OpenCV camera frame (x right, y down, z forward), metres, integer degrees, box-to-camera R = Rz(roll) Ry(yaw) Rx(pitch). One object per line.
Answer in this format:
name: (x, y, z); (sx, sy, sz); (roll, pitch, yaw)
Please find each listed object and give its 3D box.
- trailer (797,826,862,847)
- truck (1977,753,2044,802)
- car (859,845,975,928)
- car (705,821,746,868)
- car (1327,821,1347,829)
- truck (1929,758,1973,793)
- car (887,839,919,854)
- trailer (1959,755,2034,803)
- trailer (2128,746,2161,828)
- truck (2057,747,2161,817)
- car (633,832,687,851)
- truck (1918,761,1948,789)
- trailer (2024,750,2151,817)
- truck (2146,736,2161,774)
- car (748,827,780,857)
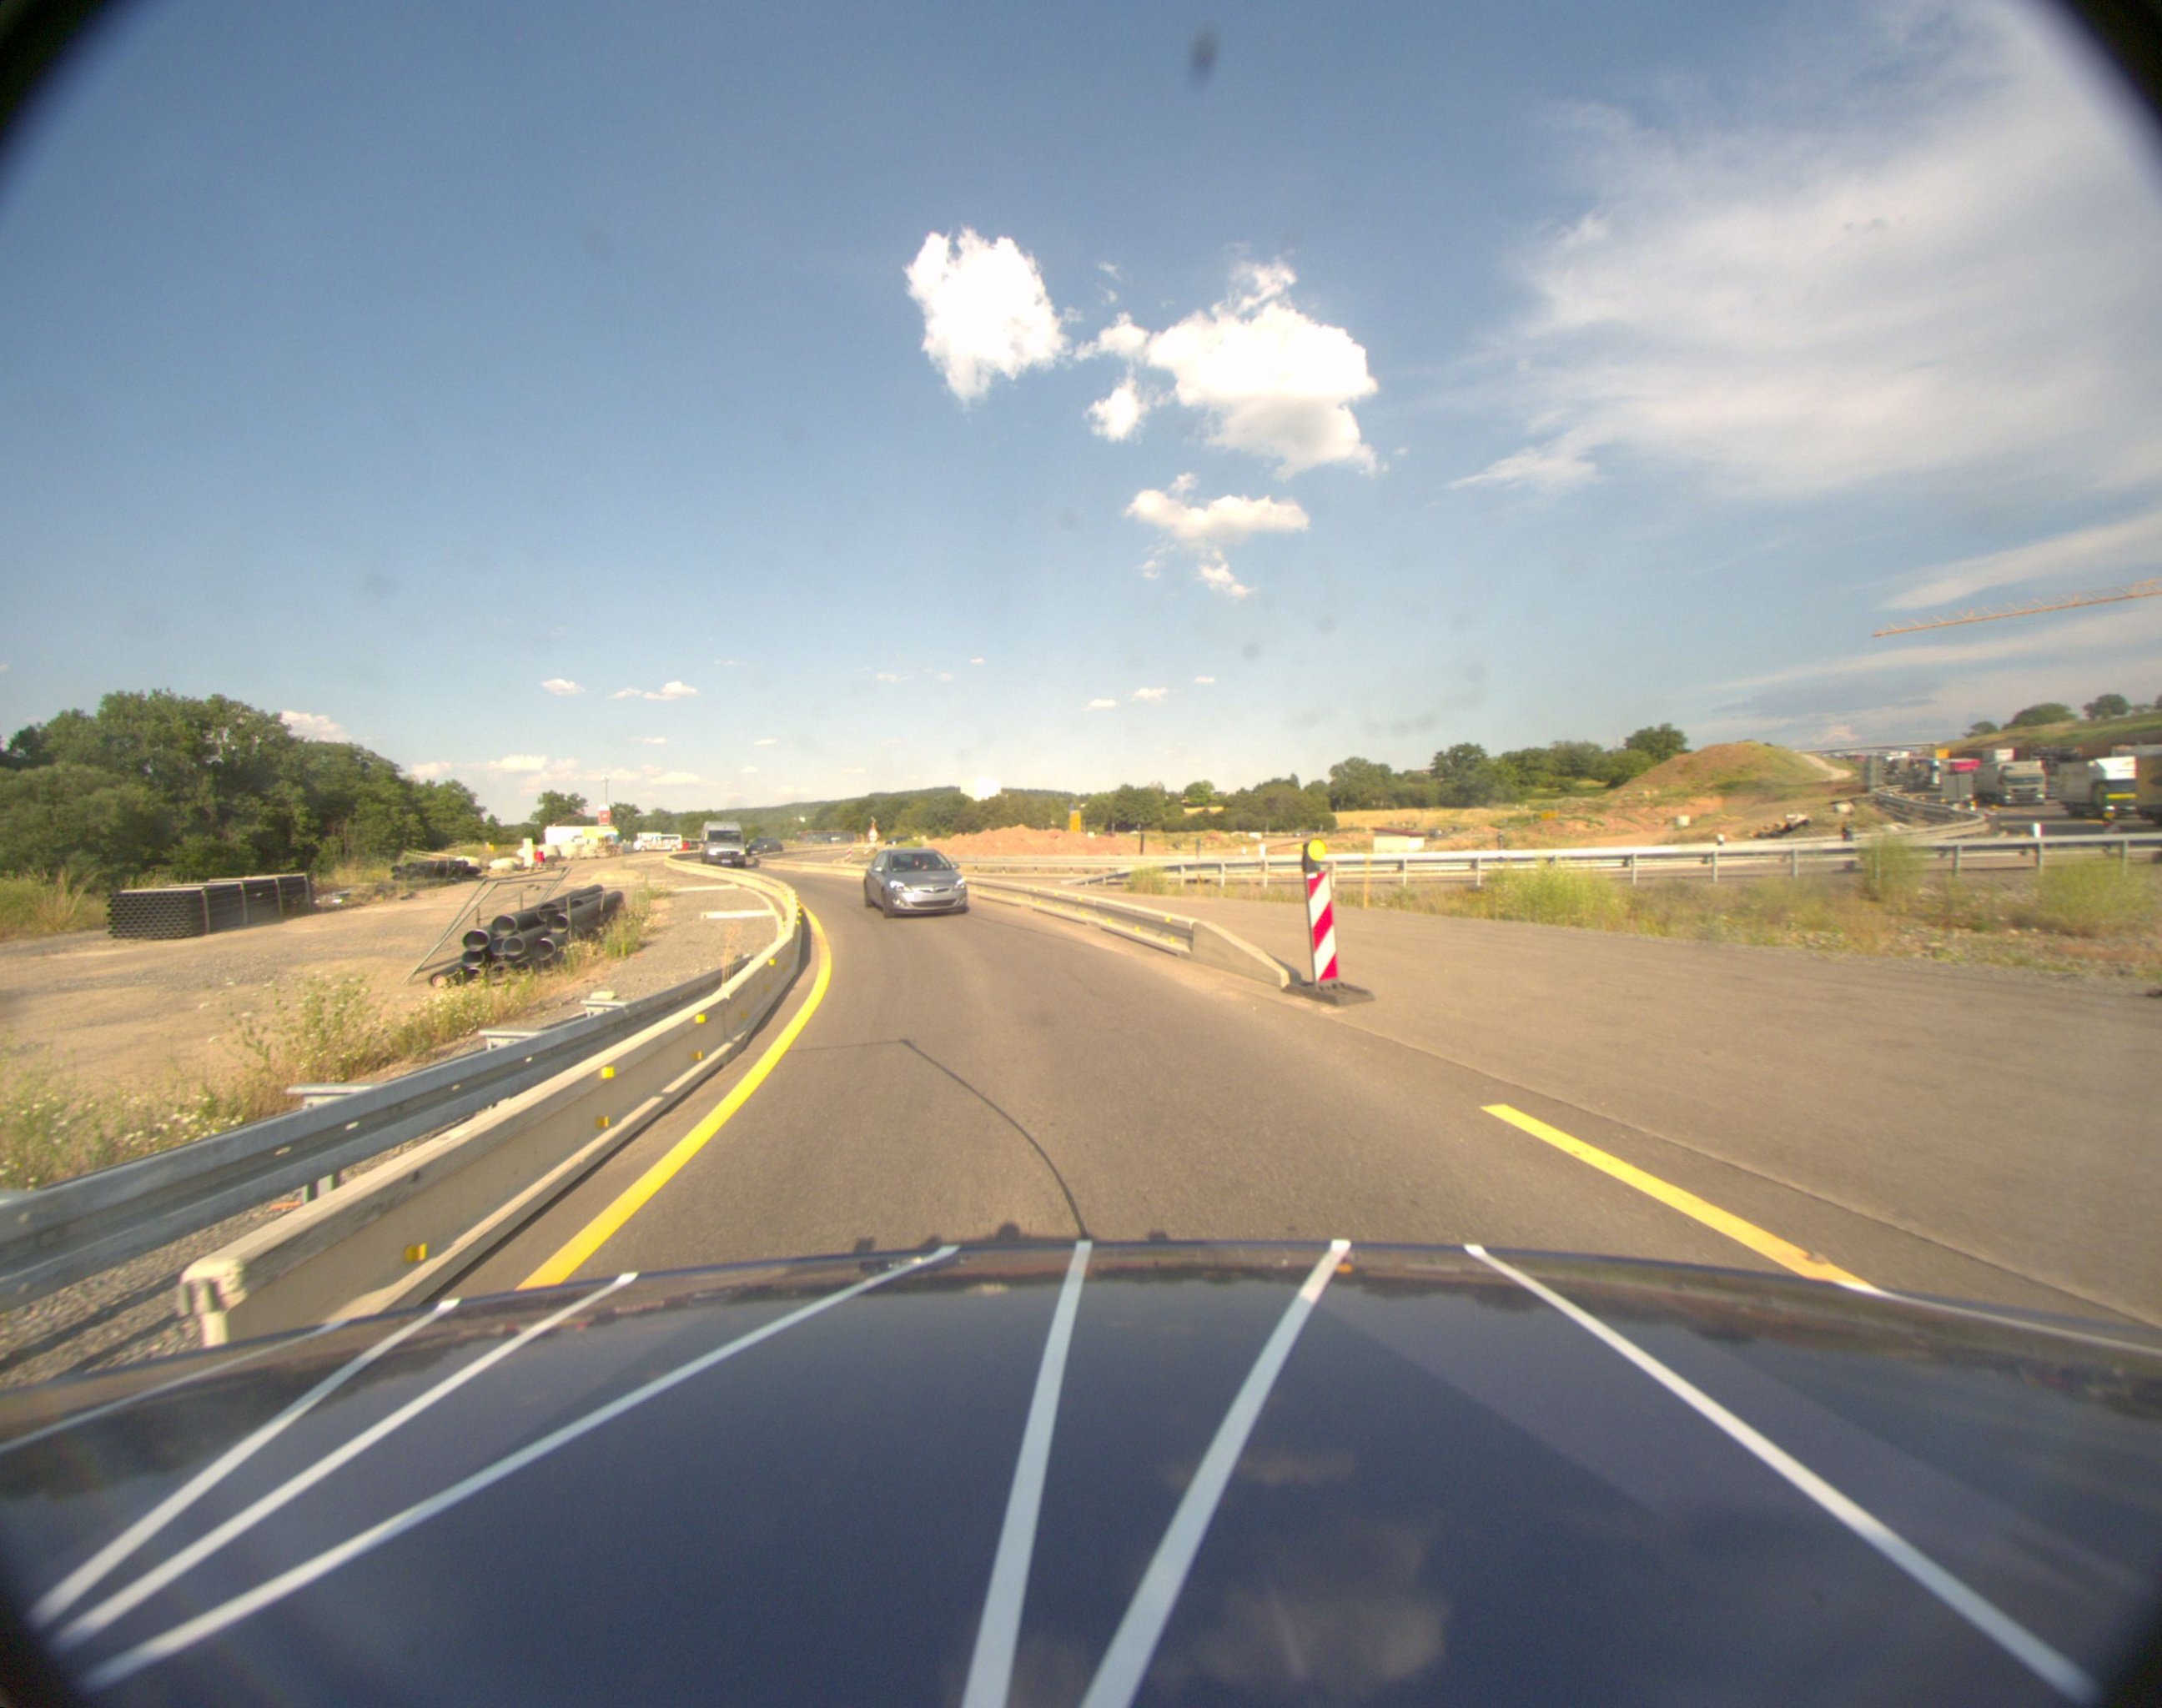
trailer: (-30.771, -2.199, 93.269); (3.005, 2.401, 7.241); (0, 3, 34)
truck: (88.465, -7.149, 72.456); (3.104, 4.291, 6.909); (2, 4, 44)
car: (-3.901, 0.617, 17.514); (1.750, 1.476, 4.242); (-4, 4, -23)
car: (-20.177, -0.632, 43.072); (1.920, 2.487, 5.783); (-2, 3, -26)
car: (50.324, -5.639, 149.256); (4.523, 1.511, 1.710); (-2, 5, -40)
truck: (116.823, -10.408, 102.098); (3.104, 4.291, 6.909); (2, 4, 44)
car: (-22.073, -0.964, 94.226); (1.633, 1.777, 4.132); (1, 3, 25)
trailer: (93.882, -7.482, 78.141); (3.104, 4.291, 14.278); (2, 4, 43)
trailer: (55.831, -3.379, 36.927); (3.104, 4.291, 14.278); (2, 4, 43)
truck: (68.248, -4.638, 50.448); (3.104, 4.291, 6.909); (2, 4, 44)
car: (-50.728, -1.560, 91.571); (5.329, 2.068, 2.480); (-2, 3, -35)
truck: (135.020, -12.468, 120.472); (2.515, 3.979, 8.569); (2, 4, 45)
trailer: (72.779, -4.864, 55.332); (3.104, 4.291, 14.278); (2, 4, 43)
truck: (143.266, -13.048, 99.595); (13.197, 4.388, 3.562); (-3, 4, -38)
car: (-27.315, -1.075, 65.623); (1.877, 2.390, 3.993); (-1, 3, -14)
